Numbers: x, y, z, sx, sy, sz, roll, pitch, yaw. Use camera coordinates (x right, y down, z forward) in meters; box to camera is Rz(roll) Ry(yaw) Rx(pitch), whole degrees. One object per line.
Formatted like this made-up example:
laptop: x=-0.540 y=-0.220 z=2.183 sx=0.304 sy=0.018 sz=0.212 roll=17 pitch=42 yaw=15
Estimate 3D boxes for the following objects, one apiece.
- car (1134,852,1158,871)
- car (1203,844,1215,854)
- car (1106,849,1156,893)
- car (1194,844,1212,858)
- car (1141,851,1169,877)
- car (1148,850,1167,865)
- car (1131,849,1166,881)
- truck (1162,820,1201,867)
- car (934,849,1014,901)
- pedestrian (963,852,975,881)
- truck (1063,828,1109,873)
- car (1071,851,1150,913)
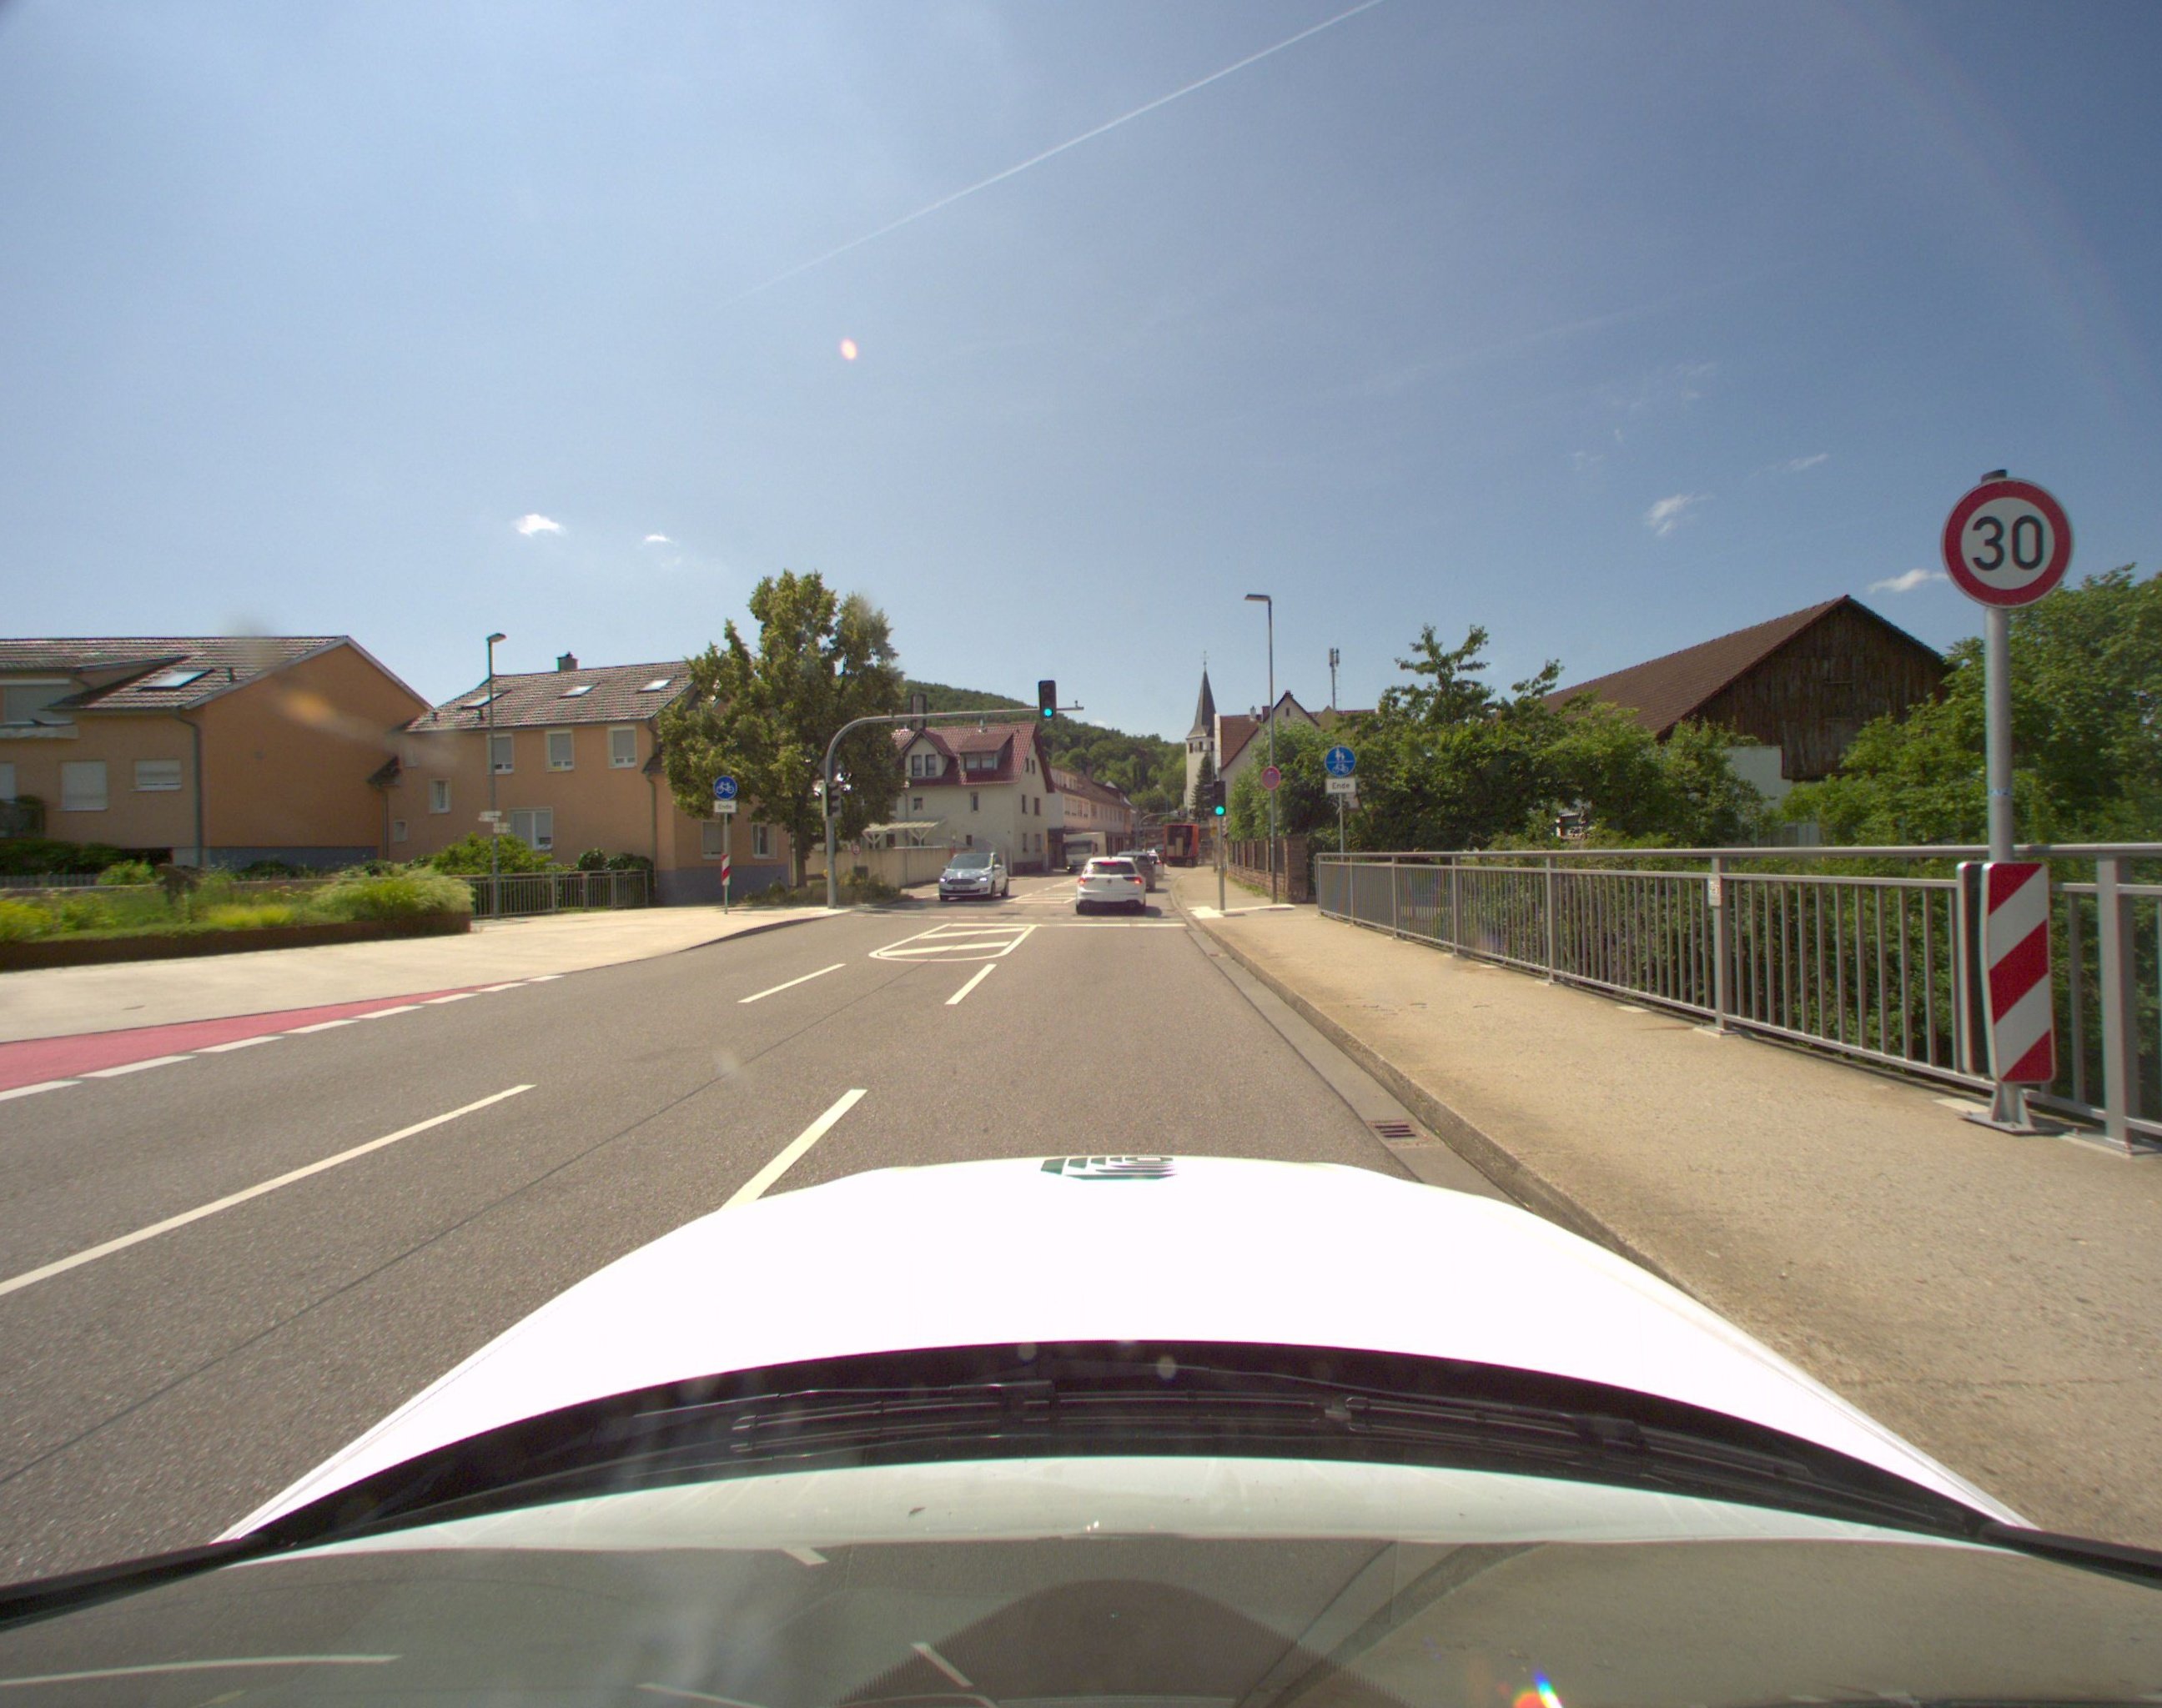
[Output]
car: x=5.575 y=0.628 z=69.625 sx=1.806 sy=1.519 sz=4.007 roll=-2 pitch=-1 yaw=6
car: x=21.278 y=-0.788 z=135.471 sx=1.806 sy=1.519 sz=4.007 roll=-2 pitch=-1 yaw=6
car: x=2.131 y=0.682 z=33.658 sx=1.806 sy=1.629 sz=4.007 roll=-2 pitch=-1 yaw=6
car: x=14.002 y=-0.309 z=93.476 sx=1.806 sy=1.519 sz=4.007 roll=-2 pitch=-1 yaw=6
car: x=5.182 y=0.682 z=56.699 sx=1.806 sy=1.629 sz=4.007 roll=-2 pitch=-1 yaw=6
car: x=8.041 y=0.397 z=85.405 sx=1.806 sy=1.519 sz=4.007 roll=-2 pitch=-1 yaw=6
car: x=3.834 y=0.595 z=45.688 sx=1.806 sy=1.629 sz=4.007 roll=-2 pitch=-1 yaw=6
truck: x=9.830 y=-0.927 z=78.729 sx=3.347 sy=4.170 sz=9.541 roll=-2 pitch=-1 yaw=9
car: x=-3.578 y=0.679 z=27.966 sx=1.806 sy=1.649 sz=4.007 roll=0 pitch=0 yaw=6
pedestrian: x=-6.906 y=0.745 z=50.277 sx=0.430 sy=1.764 sz=0.560 roll=-2 pitch=0 yaw=25
truck: x=0.467 y=-0.214 z=63.573 sx=2.486 sy=3.235 sz=6.058 roll=-2 pitch=-1 yaw=11
car: x=0.883 y=0.695 z=21.780 sx=1.806 sy=1.519 sz=4.007 roll=0 pitch=0 yaw=6
